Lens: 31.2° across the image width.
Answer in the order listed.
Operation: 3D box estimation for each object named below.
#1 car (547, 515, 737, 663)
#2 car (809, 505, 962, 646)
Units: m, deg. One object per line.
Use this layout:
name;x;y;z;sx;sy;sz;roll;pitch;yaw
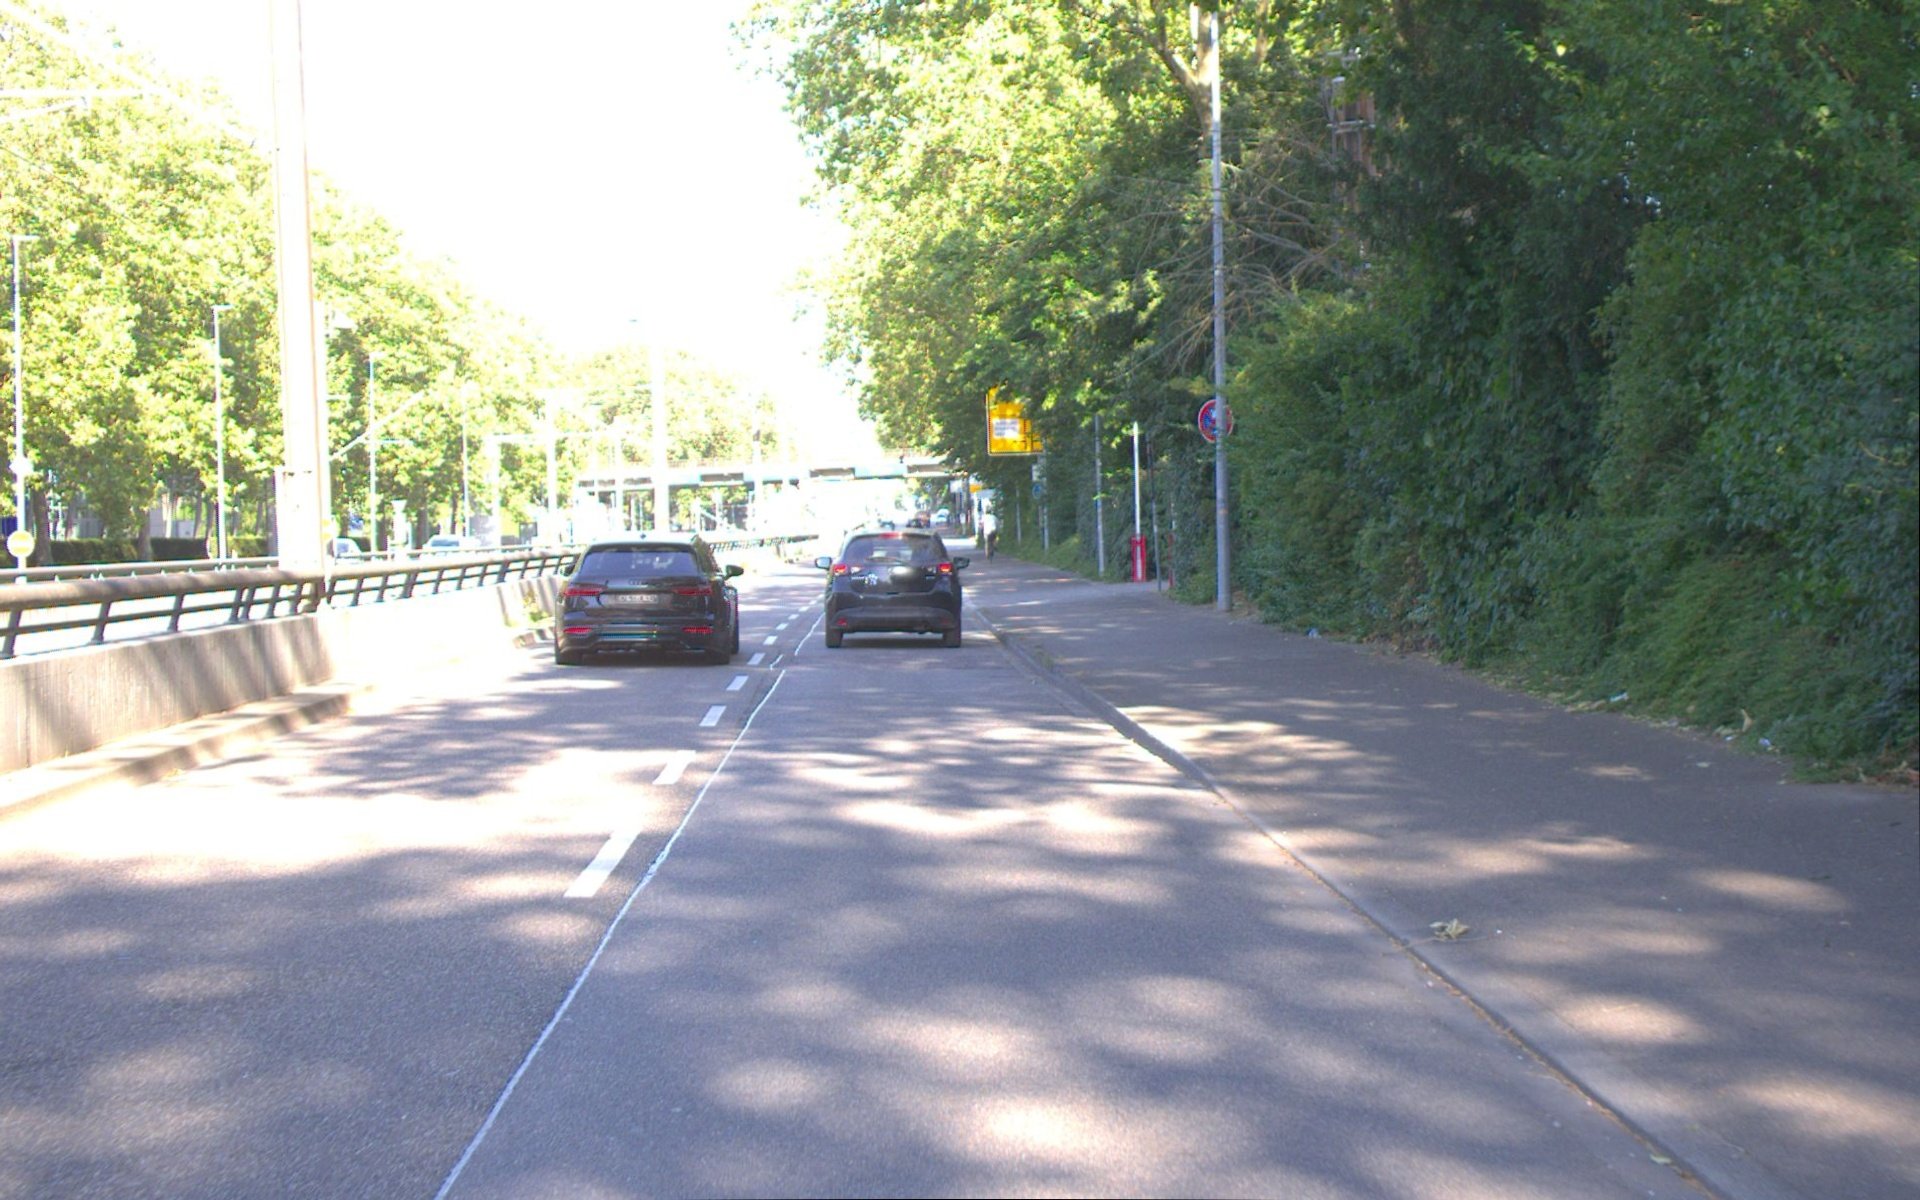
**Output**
car;-3.437;-0.157;37.723;1.878;1.452;3.357;-2;2;-3
car;-0.983;-0.353;43.385;1.762;1.613;4.001;-2;2;-3
